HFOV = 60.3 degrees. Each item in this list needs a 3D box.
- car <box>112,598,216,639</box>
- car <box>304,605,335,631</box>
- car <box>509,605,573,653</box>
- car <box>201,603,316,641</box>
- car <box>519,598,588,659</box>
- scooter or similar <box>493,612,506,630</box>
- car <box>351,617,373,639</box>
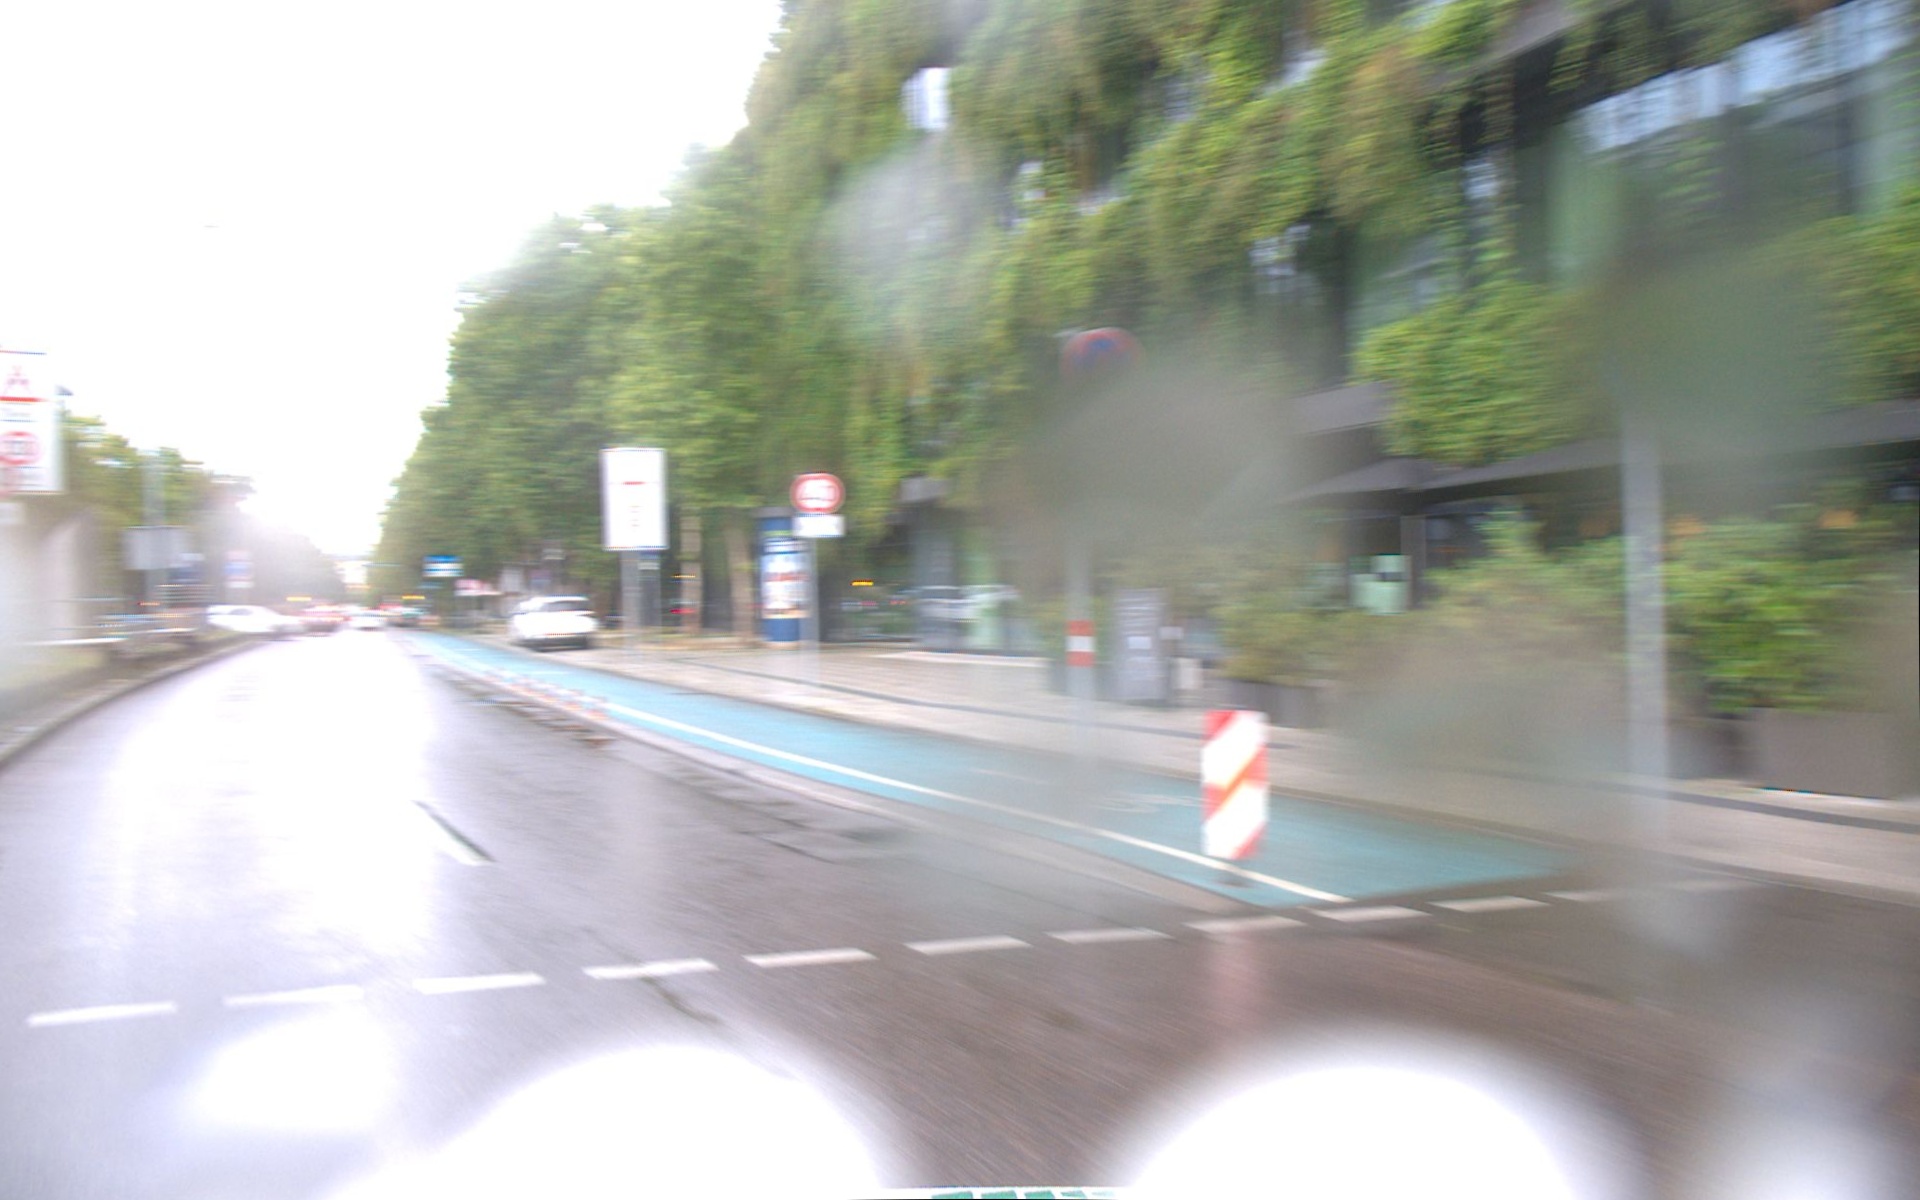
[{"bbox_3d":[-36.634,0.843,76.174,4.136,1.821,2.000,0,0,20],"label":"car"},{"bbox_3d":[-37.196,1.047,96.005,1.598,1.497,3.973,0,0,-22],"label":"car"},{"bbox_3d":[-15.604,1.044,61.455,1.817,1.661,4.757,0,0,-21],"label":"car"},{"bbox_3d":[-32.786,1.022,77.451,4.800,1.684,1.988,0,0,-20],"label":"car"},{"bbox_3d":[-13.697,0.912,55.589,1.815,1.870,5.067,-2,1,-18],"label":"car"},{"bbox_3d":[-33.479,1.528,120.320,0.372,1.249,1.080,-1,0,16],"label":"scooter or similar"},{"bbox_3d":[-46.841,2.178,129.524,1.597,1.695,3.975,-1,0,-21],"label":"car"}]
